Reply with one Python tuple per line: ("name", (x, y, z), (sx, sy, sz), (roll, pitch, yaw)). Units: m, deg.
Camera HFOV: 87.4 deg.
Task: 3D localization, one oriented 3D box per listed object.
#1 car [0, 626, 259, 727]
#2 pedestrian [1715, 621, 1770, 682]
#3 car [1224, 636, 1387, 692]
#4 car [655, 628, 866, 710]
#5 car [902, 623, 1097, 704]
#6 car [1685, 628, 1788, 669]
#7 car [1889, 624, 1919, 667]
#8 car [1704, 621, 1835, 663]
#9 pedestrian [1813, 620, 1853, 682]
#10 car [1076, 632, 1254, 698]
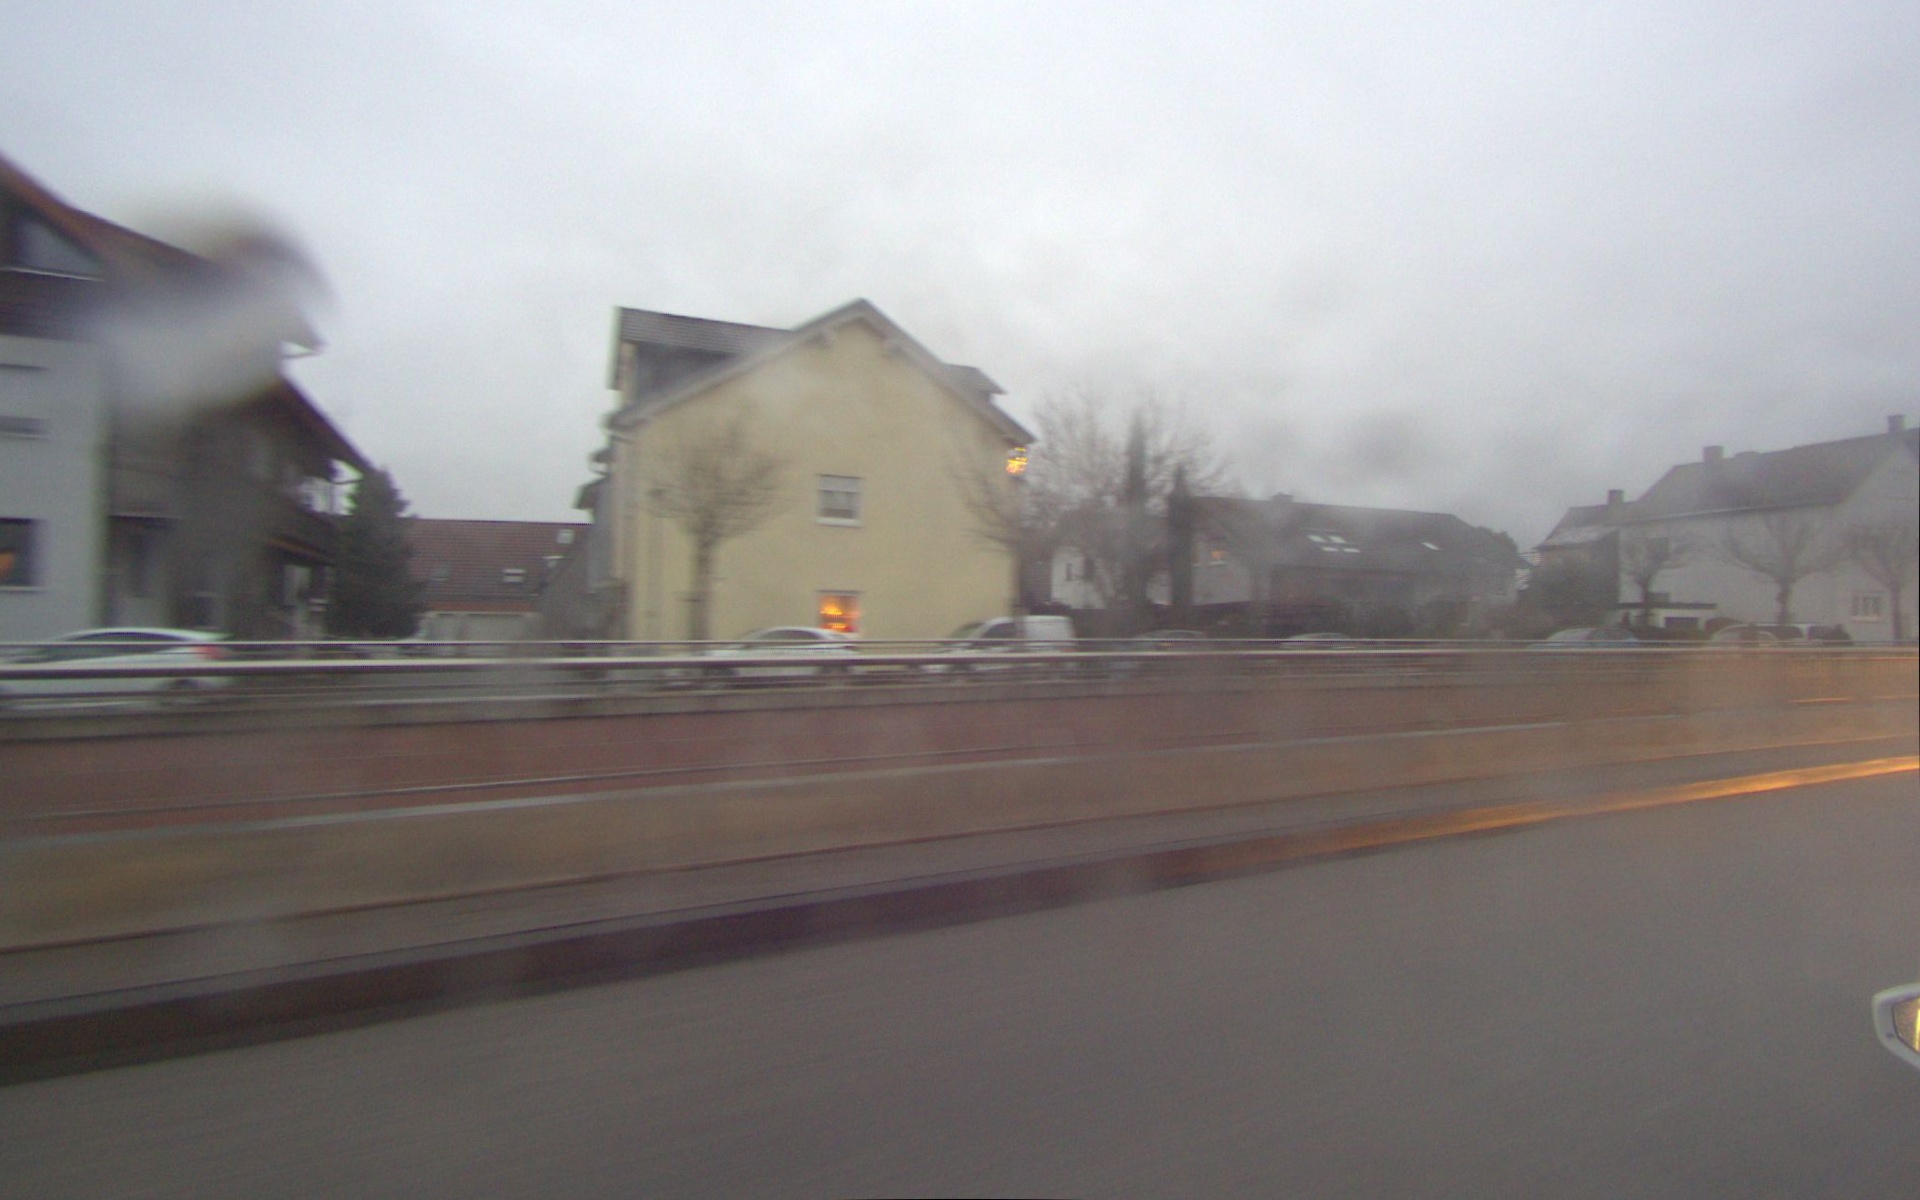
("car", (-14.145, 1.215, 16.584), (3.983, 1.543, 1.761), (2, -2, -29))
("pedestrian", (23.554, 1.538, 30.236), (0.958, 1.808, 0.927), (1, -1, -19))
("car", (9.996, 1.823, 29.041), (4.441, 1.452, 1.869), (0, -3, -26))
("car", (-4.348, 1.462, 21.944), (4.171, 1.619, 1.867), (0, -3, -28))
("car", (0.983, 1.519, 24.632), (4.444, 1.802, 1.867), (0, -3, -28))
("car", (28.504, 1.786, 36.880), (3.408, 1.446, 1.480), (1, -2, -21))
("car", (40.623, 1.844, 41.296), (4.155, 1.705, 1.908), (0, -2, -21))
("car", (34.823, 1.834, 43.317), (1.837, 1.716, 3.980), (0, -3, -22))
("pedestrian", (24.455, 1.411, 28.144), (0.533, 1.720, 0.663), (0, 0, -19))
("car", (5.517, 1.717, 27.008), (4.441, 1.593, 1.869), (0, -3, -26))
